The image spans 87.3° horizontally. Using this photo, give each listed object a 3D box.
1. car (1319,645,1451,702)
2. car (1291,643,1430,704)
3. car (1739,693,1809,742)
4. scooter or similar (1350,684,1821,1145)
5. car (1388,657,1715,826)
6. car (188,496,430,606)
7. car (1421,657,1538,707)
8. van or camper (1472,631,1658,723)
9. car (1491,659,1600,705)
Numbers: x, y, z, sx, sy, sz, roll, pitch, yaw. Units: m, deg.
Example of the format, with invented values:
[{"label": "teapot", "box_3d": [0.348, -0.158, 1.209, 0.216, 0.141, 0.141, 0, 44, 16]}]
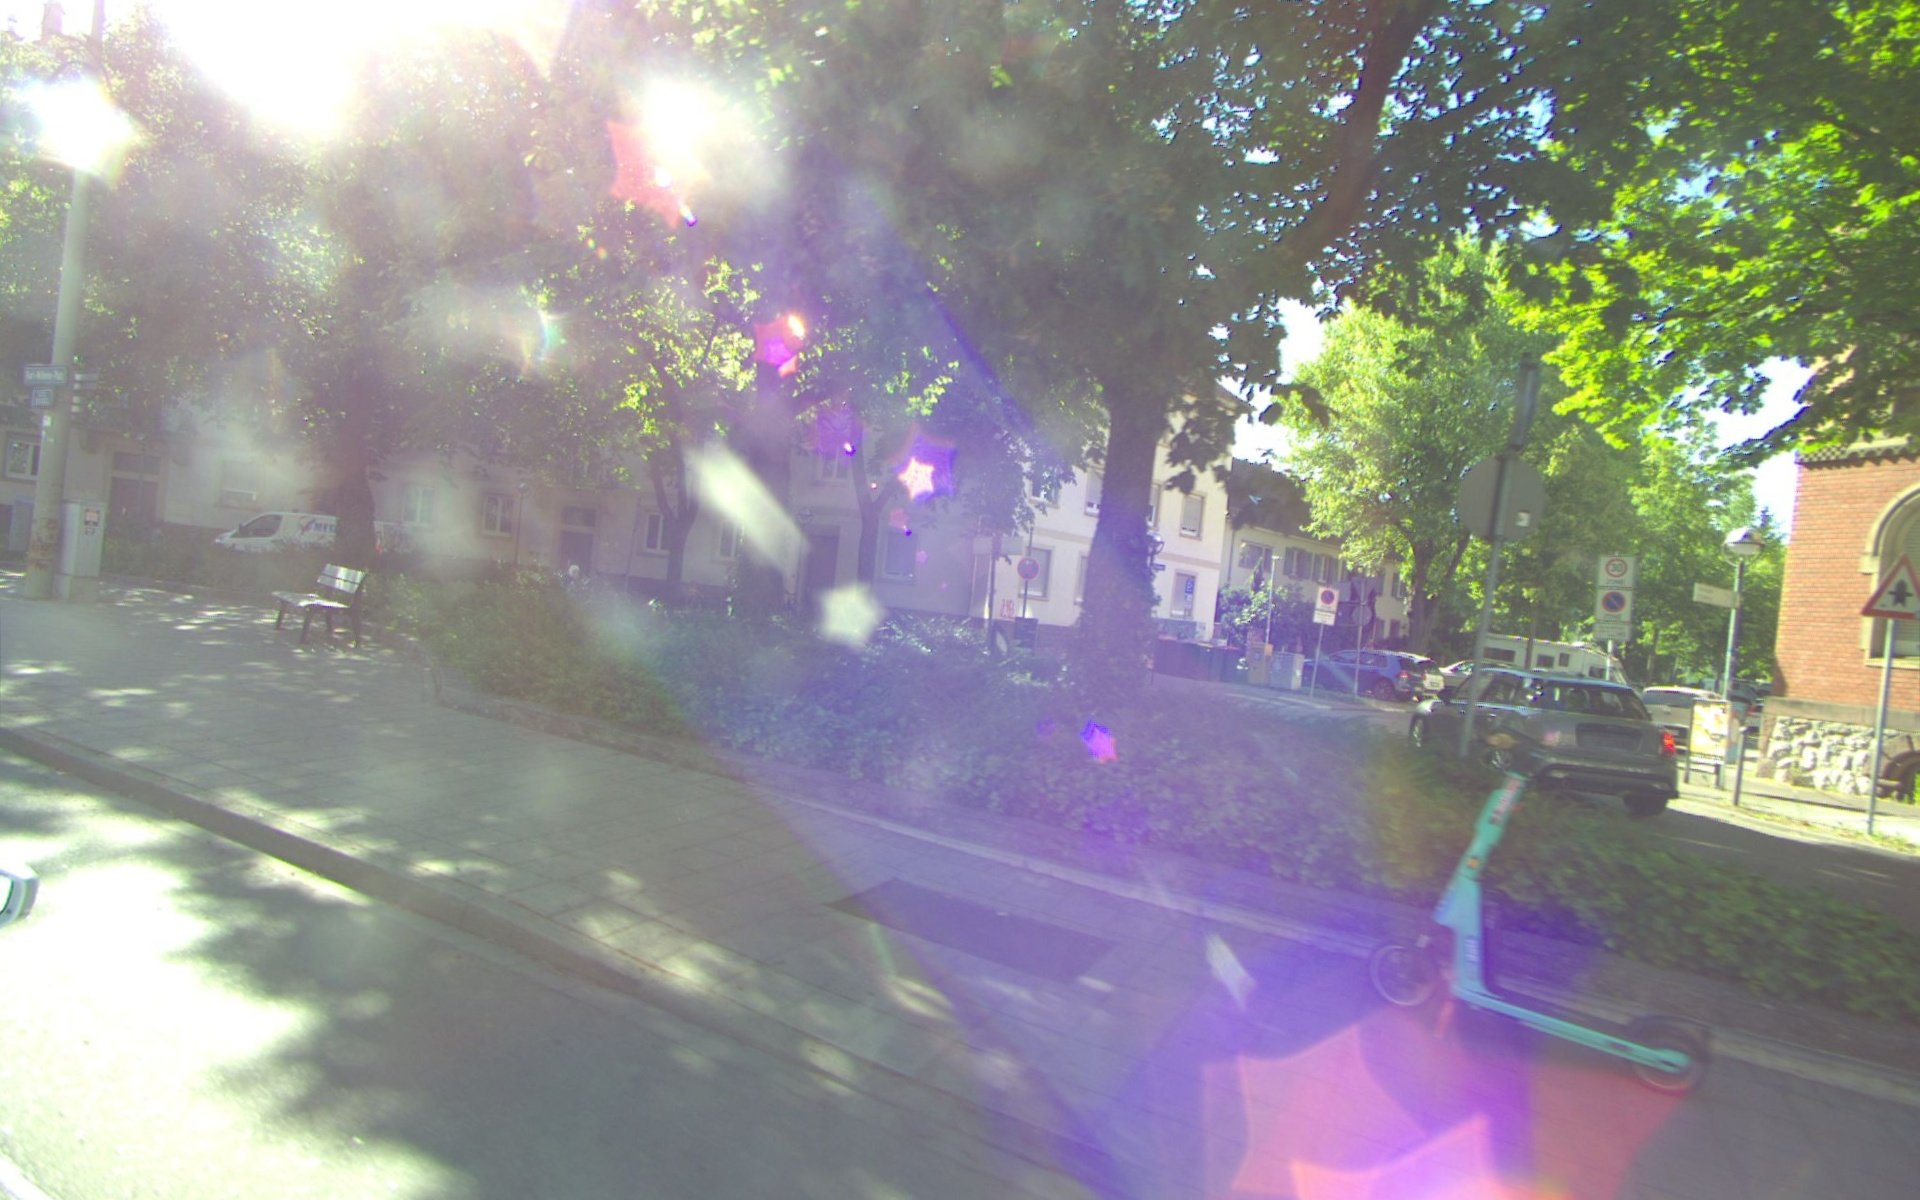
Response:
[{"label": "car", "box_3d": [14.407, 2.482, 34.208, 3.750, 1.494, 1.596, 4, -2, 41]}, {"label": "car", "box_3d": [12.847, 2.346, 32.342, 3.750, 1.494, 1.596, 4, -2, 41]}, {"label": "car", "box_3d": [34.452, 4.973, 42.562, 1.803, 1.770, 3.977, 4, -2, 45]}, {"label": "scooter or similar", "box_3d": [2.287, 1.060, 3.835, 1.306, 1.326, 0.677, 5, -1, 29]}, {"label": "car", "box_3d": [6.938, 1.565, 12.359, 1.787, 1.505, 4.004, 6, -2, 5]}, {"label": "car", "box_3d": [-17.240, -1.244, 26.861, 4.852, 2.234, 2.126, 6, -1, -1]}, {"label": "car", "box_3d": [20.460, 3.215, 39.669, 3.750, 1.543, 1.596, 4, -2, 41]}, {"label": "van or camper", "box_3d": [27.833, 3.492, 46.513, 2.614, 3.425, 6.697, 7, -2, -43]}, {"label": "car", "box_3d": [25.017, 3.495, 43.043, 3.750, 1.543, 1.596, 4, -2, 41]}]
